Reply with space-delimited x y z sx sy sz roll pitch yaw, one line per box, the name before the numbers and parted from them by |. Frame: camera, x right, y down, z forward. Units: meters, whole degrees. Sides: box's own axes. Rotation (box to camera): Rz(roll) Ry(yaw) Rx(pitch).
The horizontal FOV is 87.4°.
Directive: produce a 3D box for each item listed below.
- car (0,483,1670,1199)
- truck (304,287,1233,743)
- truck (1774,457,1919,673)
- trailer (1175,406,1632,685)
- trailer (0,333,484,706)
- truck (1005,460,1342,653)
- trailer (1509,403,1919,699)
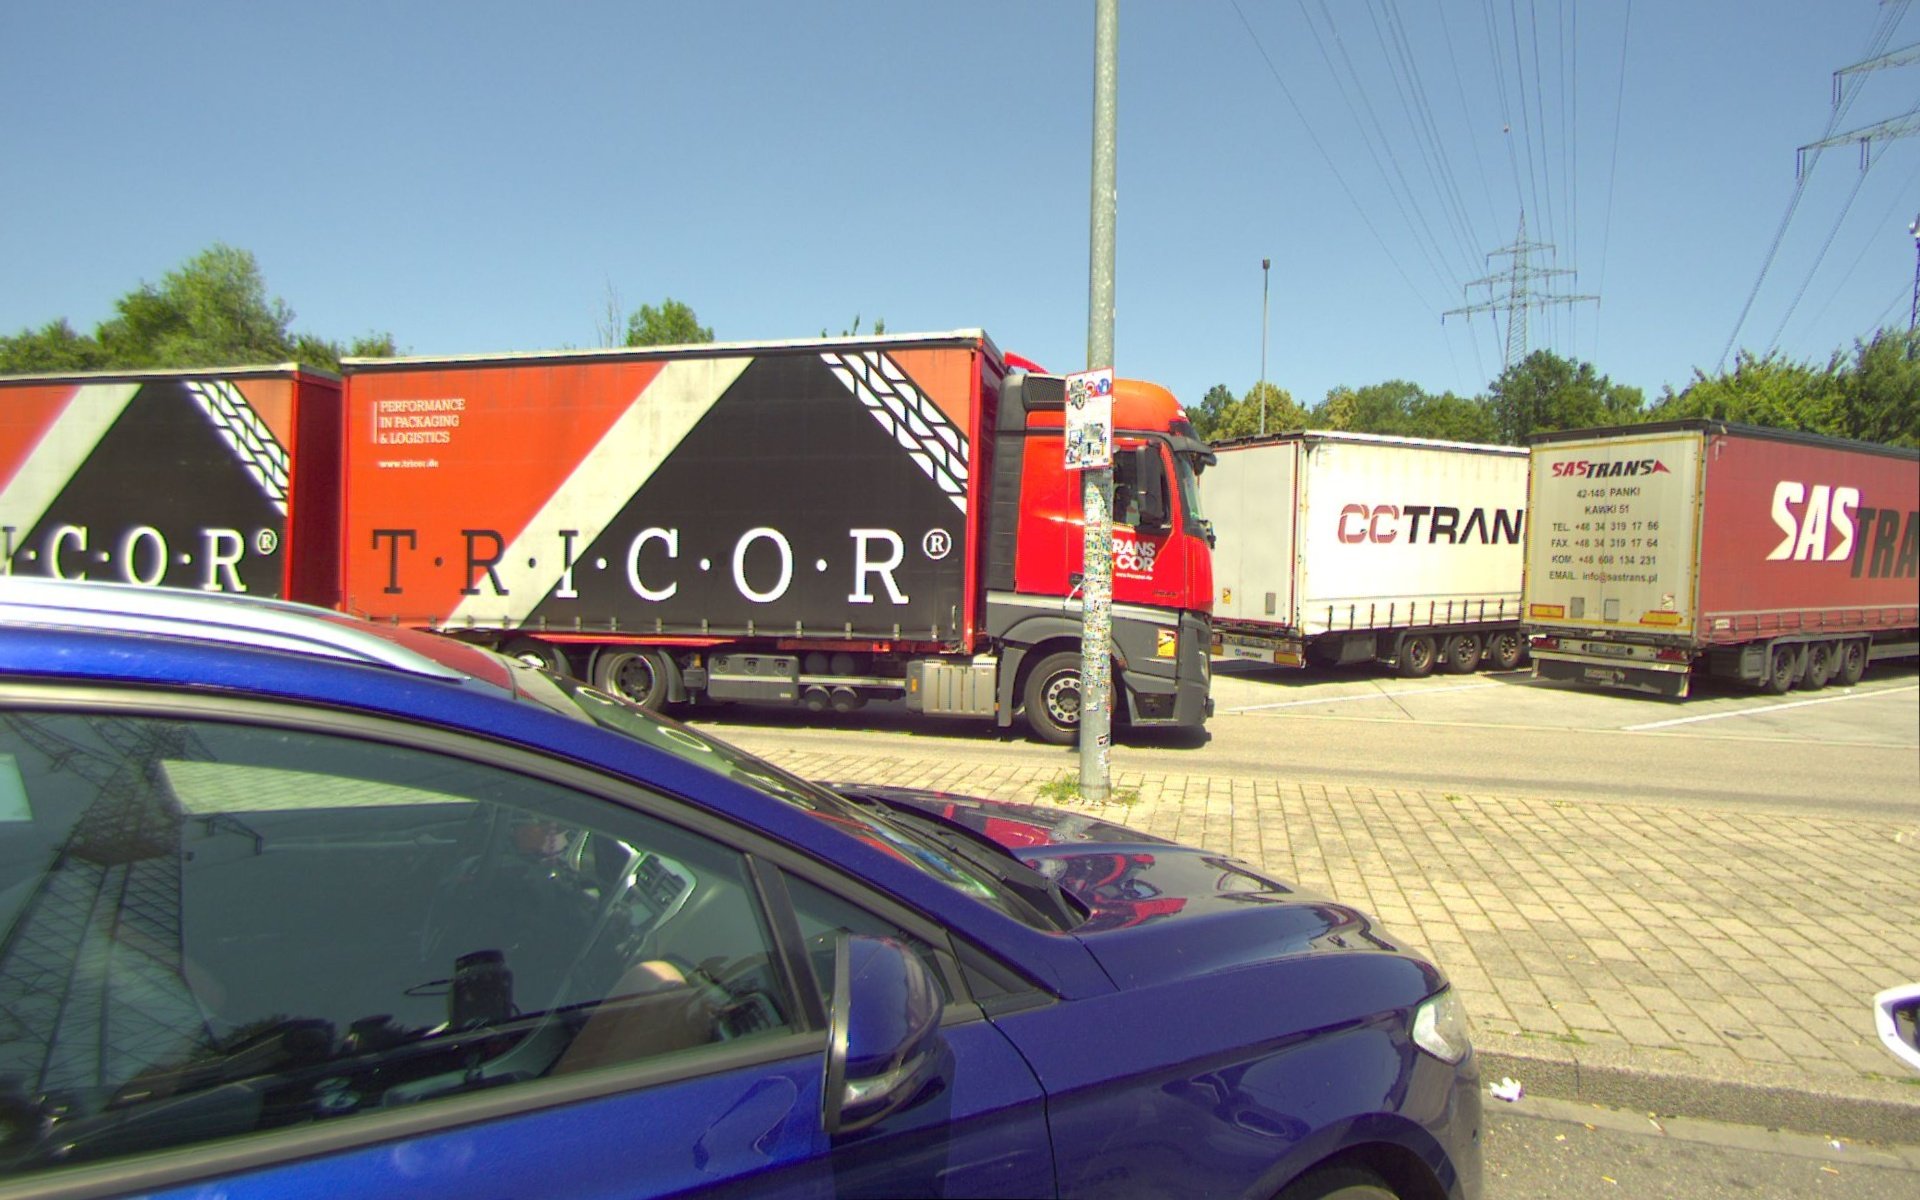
car | -1.024 0.650 1.467 4.419 1.485 1.765 0 1 -32
truck | -2.255 -0.821 11.746 10.390 4.183 2.695 1 1 14
truck | 20.805 -0.671 21.774 6.749 4.136 2.729 0 1 -31
trailer | 8.698 -0.829 19.110 9.614 4.321 2.733 0 1 -29
trailer | -11.295 -0.968 14.069 8.509 4.315 2.844 1 1 14
truck | 5.388 -0.909 24.585 8.534 4.073 2.624 0 1 -30
trailer | 15.306 -0.668 18.522 13.129 4.112 2.736 0 1 -31
